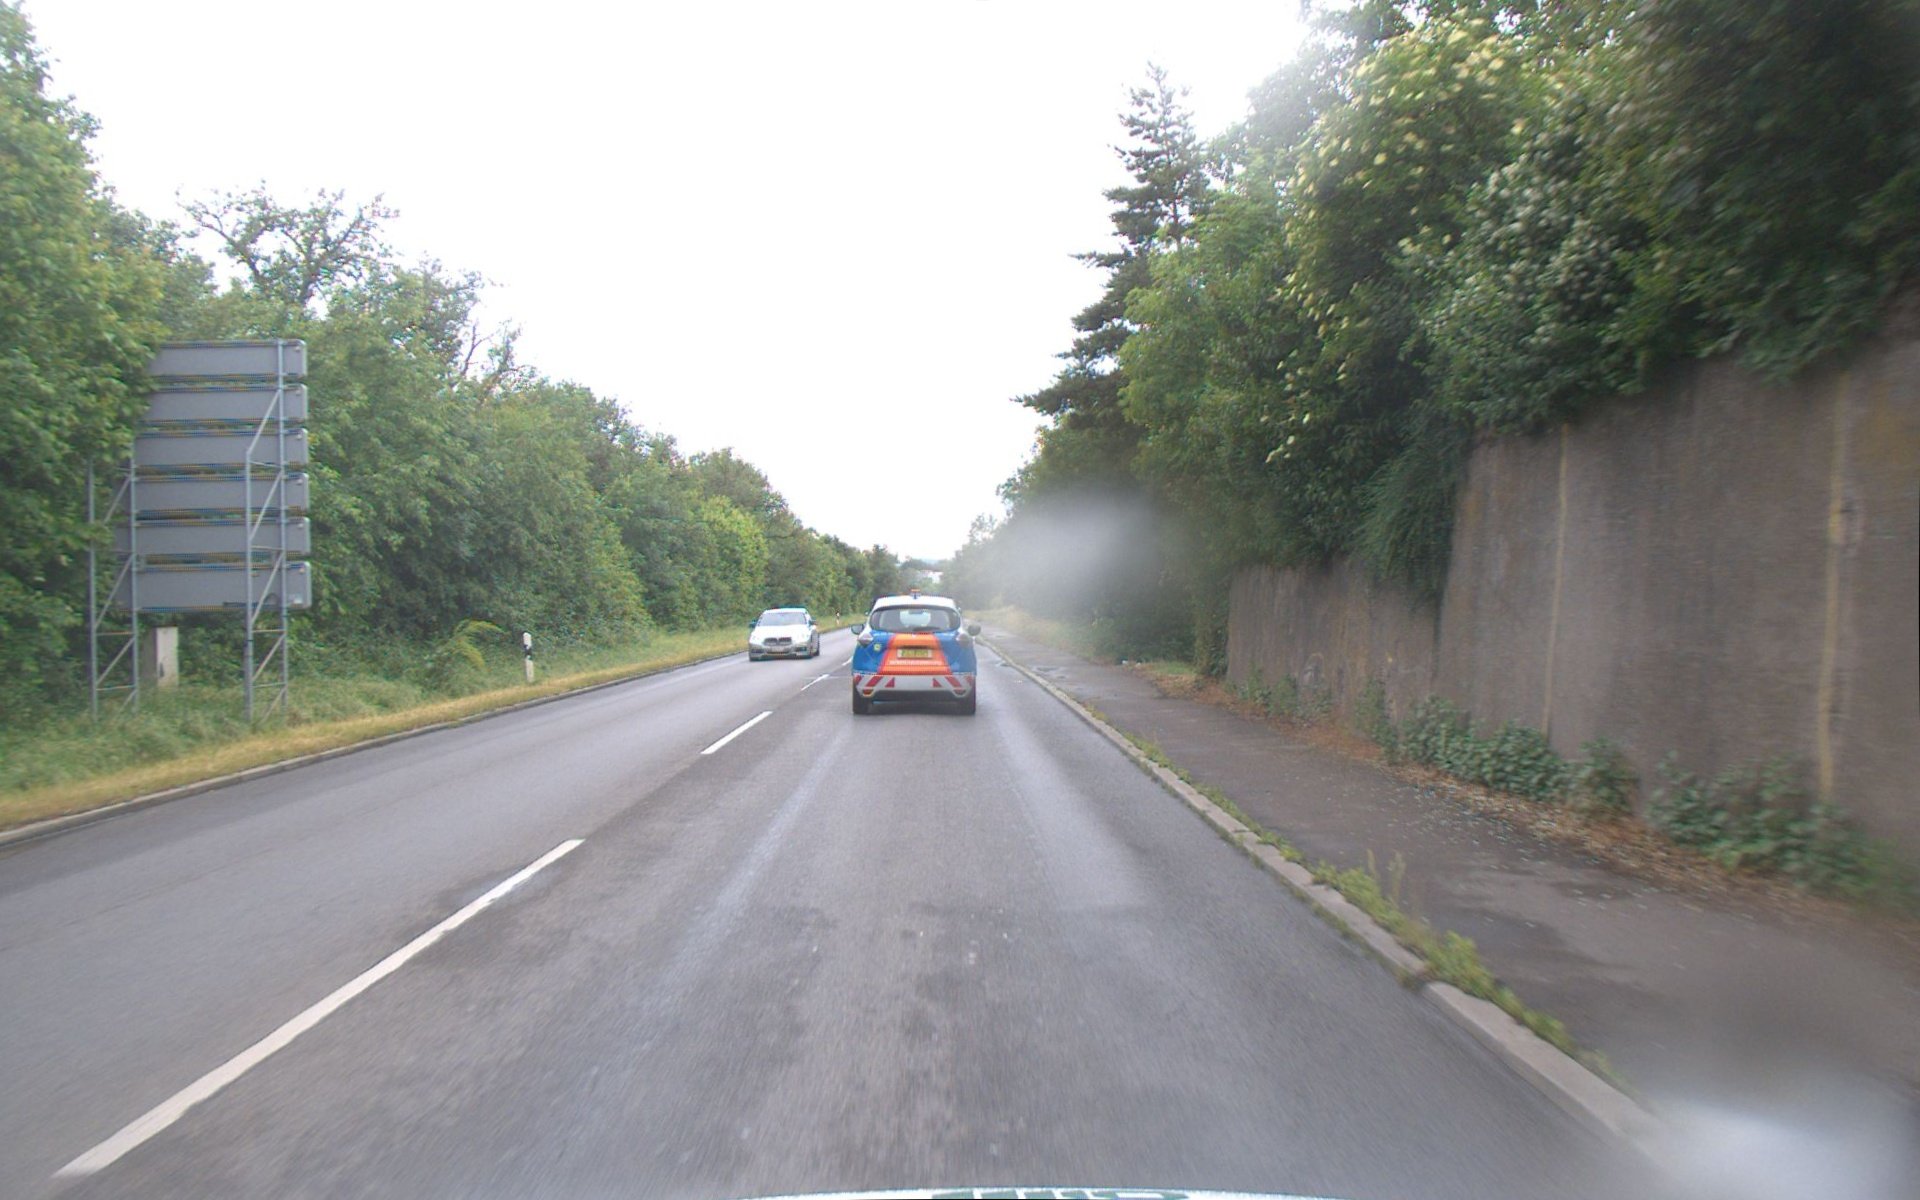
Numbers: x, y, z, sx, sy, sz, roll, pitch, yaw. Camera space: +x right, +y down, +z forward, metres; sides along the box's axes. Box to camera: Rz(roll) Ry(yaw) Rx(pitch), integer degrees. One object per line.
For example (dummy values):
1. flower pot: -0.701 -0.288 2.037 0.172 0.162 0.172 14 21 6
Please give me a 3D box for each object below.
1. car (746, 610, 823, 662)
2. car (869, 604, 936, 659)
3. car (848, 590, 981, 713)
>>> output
1. car: -4.970 0.990 47.284 1.853 1.378 4.380 -1 0 -2
2. car: -1.424 0.778 42.248 1.566 1.309 3.475 -1 0 0
3. car: -0.626 0.664 23.468 1.716 1.583 3.791 0 0 -1
